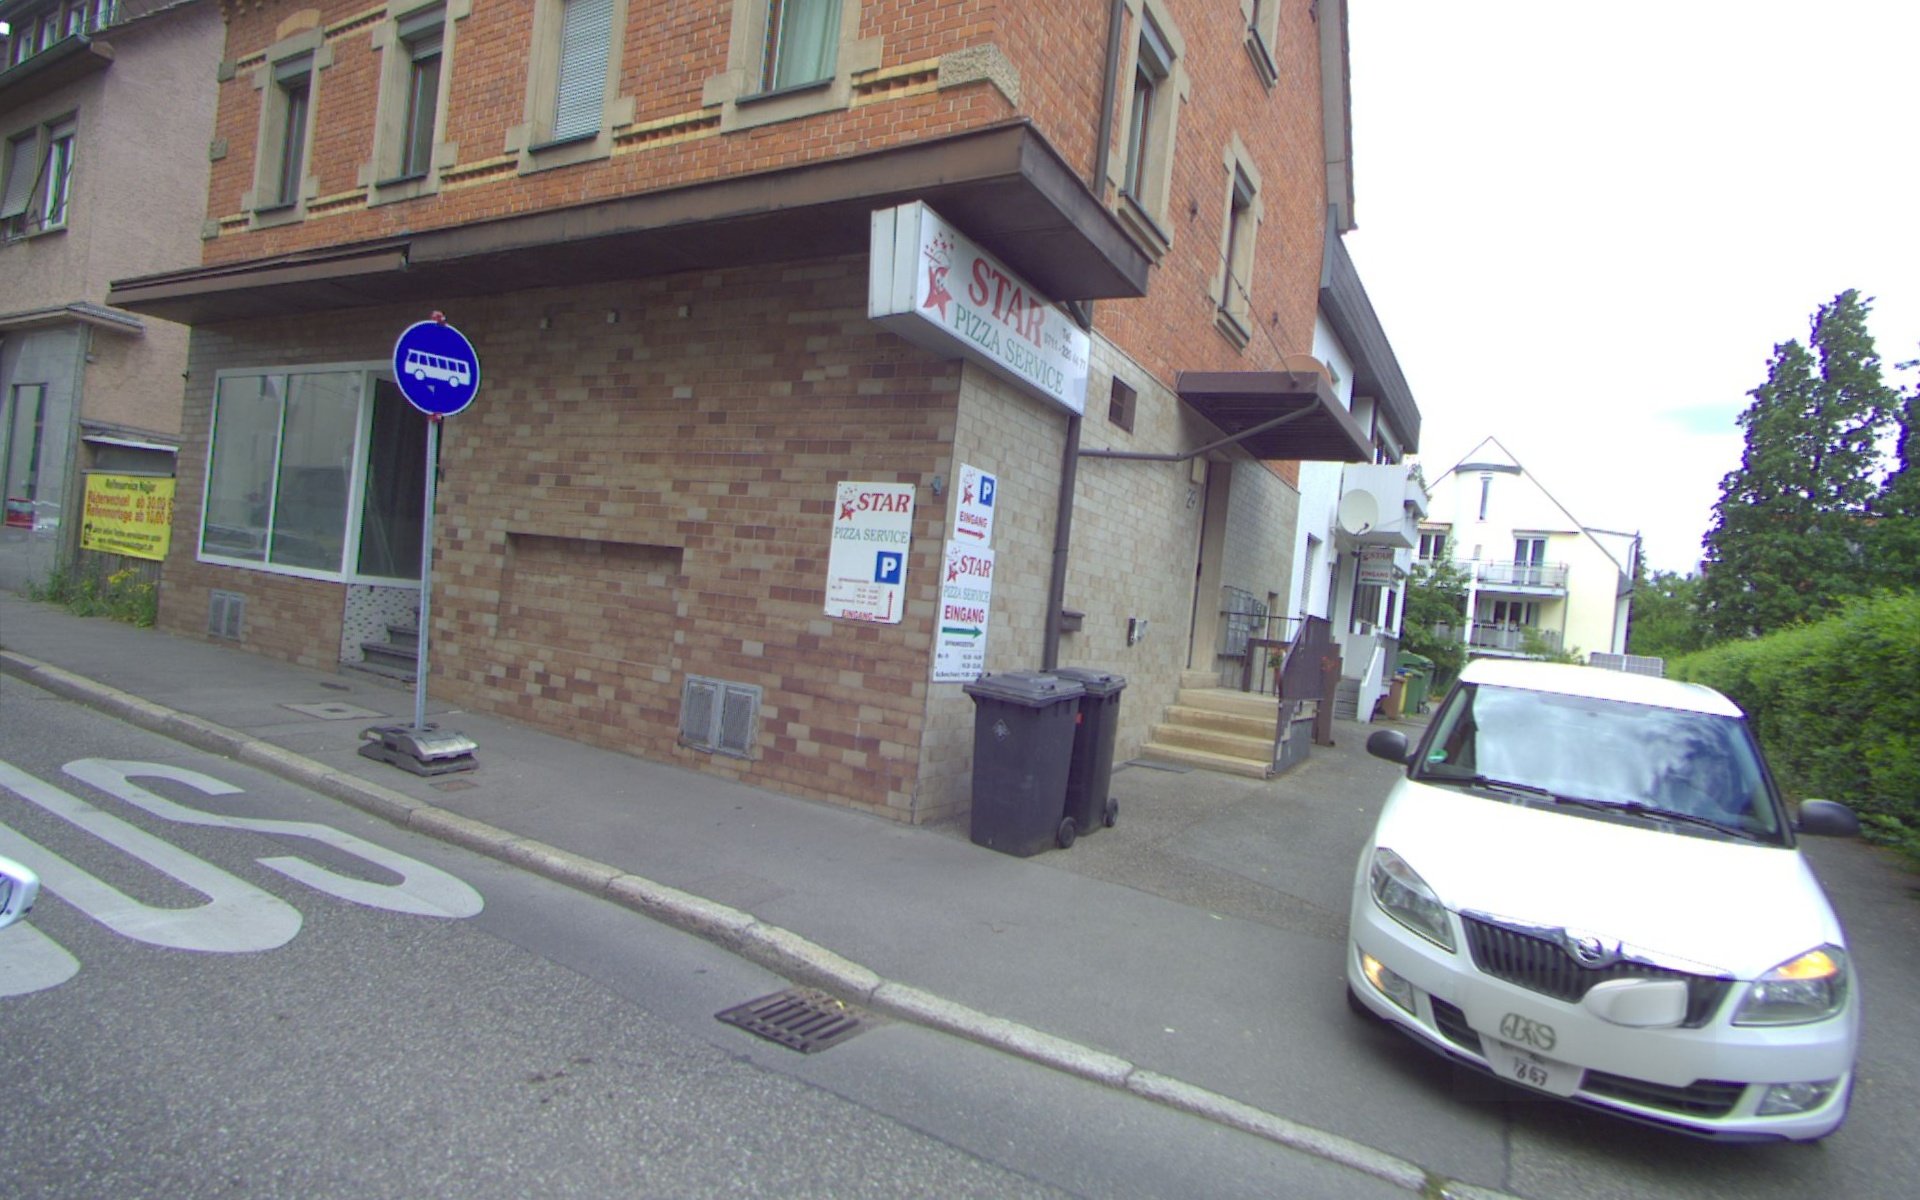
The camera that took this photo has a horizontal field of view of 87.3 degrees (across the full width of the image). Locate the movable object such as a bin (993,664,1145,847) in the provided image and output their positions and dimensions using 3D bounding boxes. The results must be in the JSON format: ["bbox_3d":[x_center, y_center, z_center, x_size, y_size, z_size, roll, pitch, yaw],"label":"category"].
[{"bbox_3d":[0.750,1.015,6.849,0.711,1.073,0.699,6,2,31],"label":"movable object such as a bin"}]

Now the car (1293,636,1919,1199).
[{"bbox_3d":[2.872,1.056,4.860,1.574,1.490,4.029,6,3,29],"label":"car"}]

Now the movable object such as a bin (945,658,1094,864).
[{"bbox_3d":[0.374,0.947,6.183,0.612,1.115,0.607,6,2,31],"label":"movable object such as a bin"}]
